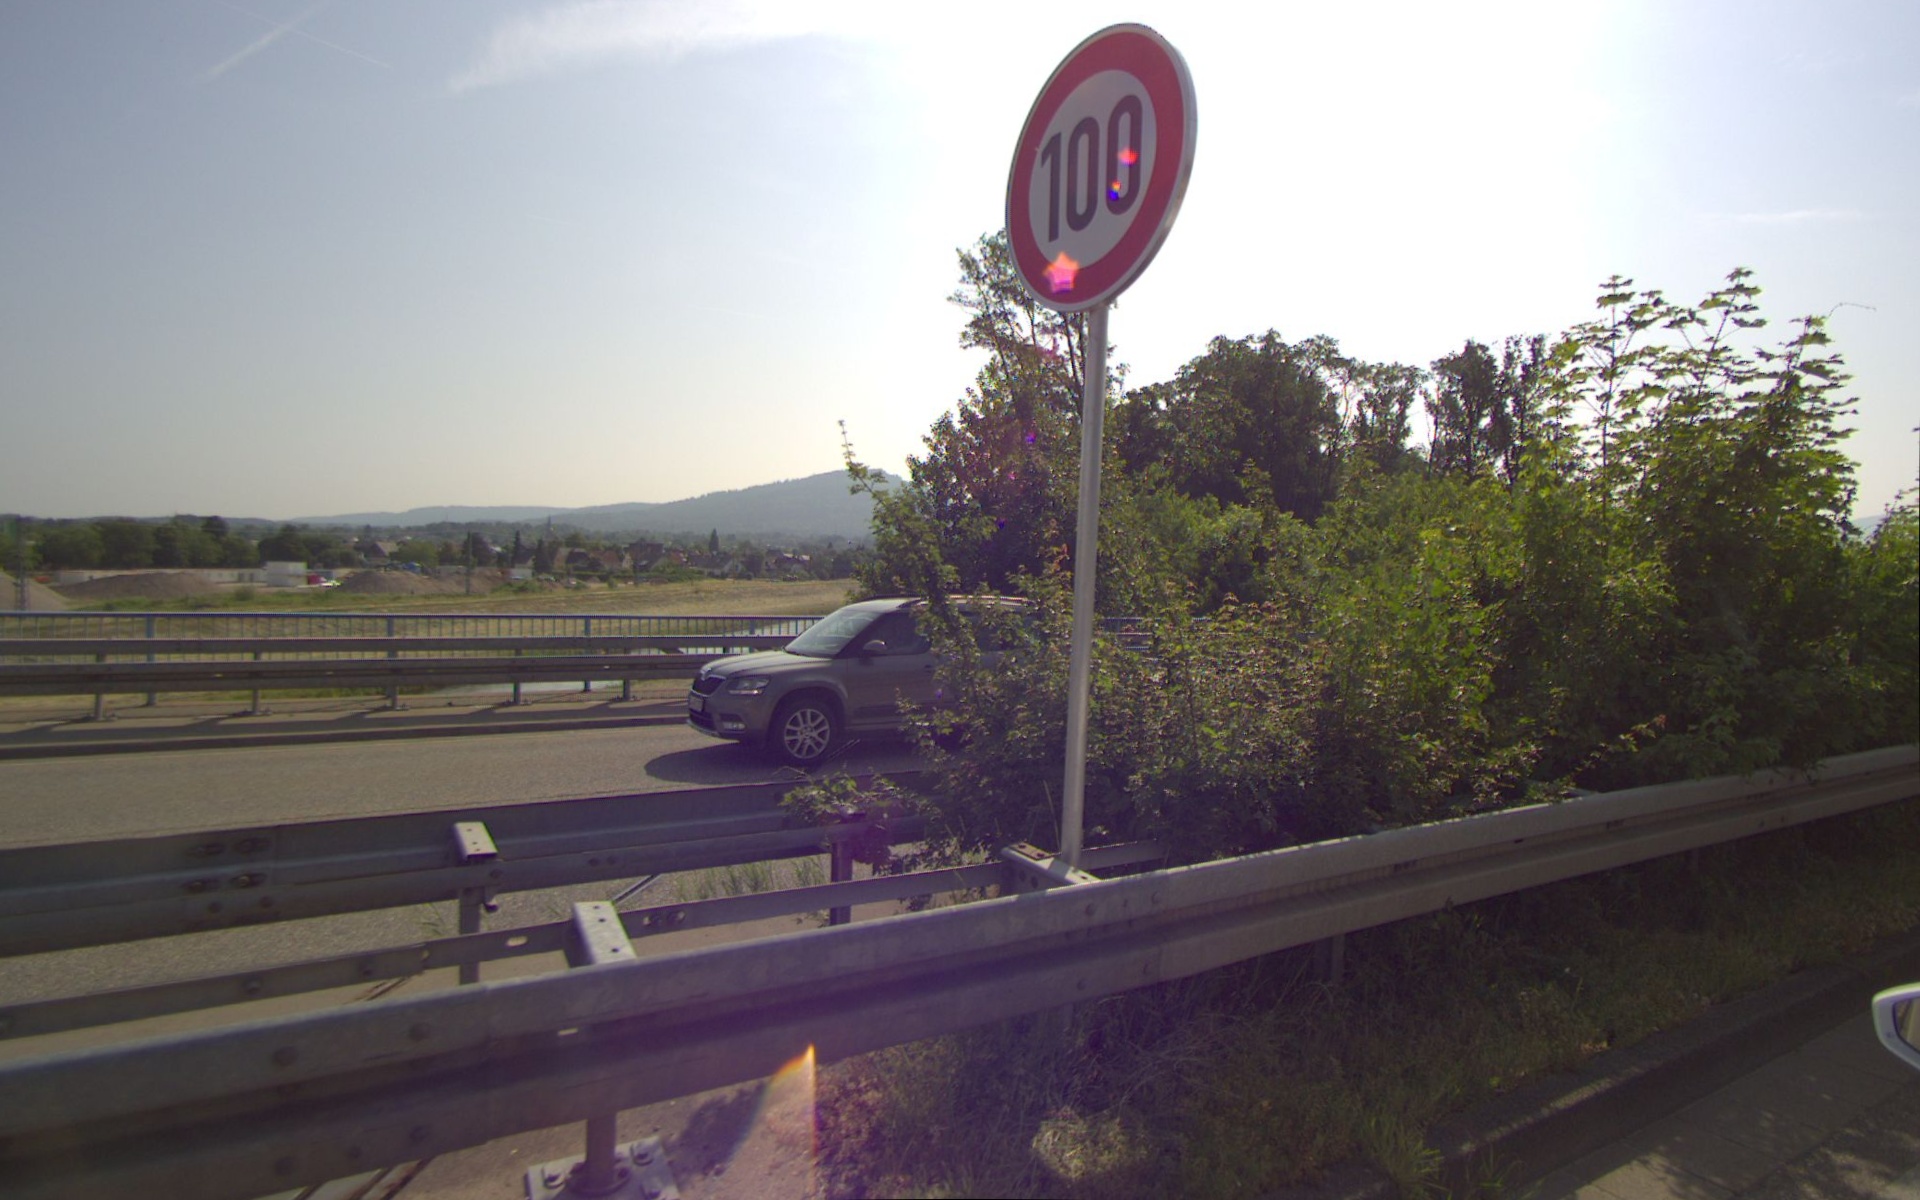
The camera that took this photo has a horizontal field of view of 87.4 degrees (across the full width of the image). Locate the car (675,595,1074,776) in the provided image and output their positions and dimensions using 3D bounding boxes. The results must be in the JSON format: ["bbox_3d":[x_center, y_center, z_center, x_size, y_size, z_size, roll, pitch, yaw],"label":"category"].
[{"bbox_3d":[-0.878,0.799,10.886,3.953,1.617,1.715,1,1,-30],"label":"car"}]

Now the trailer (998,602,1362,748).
[{"bbox_3d":[2.965,0.862,13.153,4.756,1.599,1.709,1,1,-31],"label":"trailer"}]
